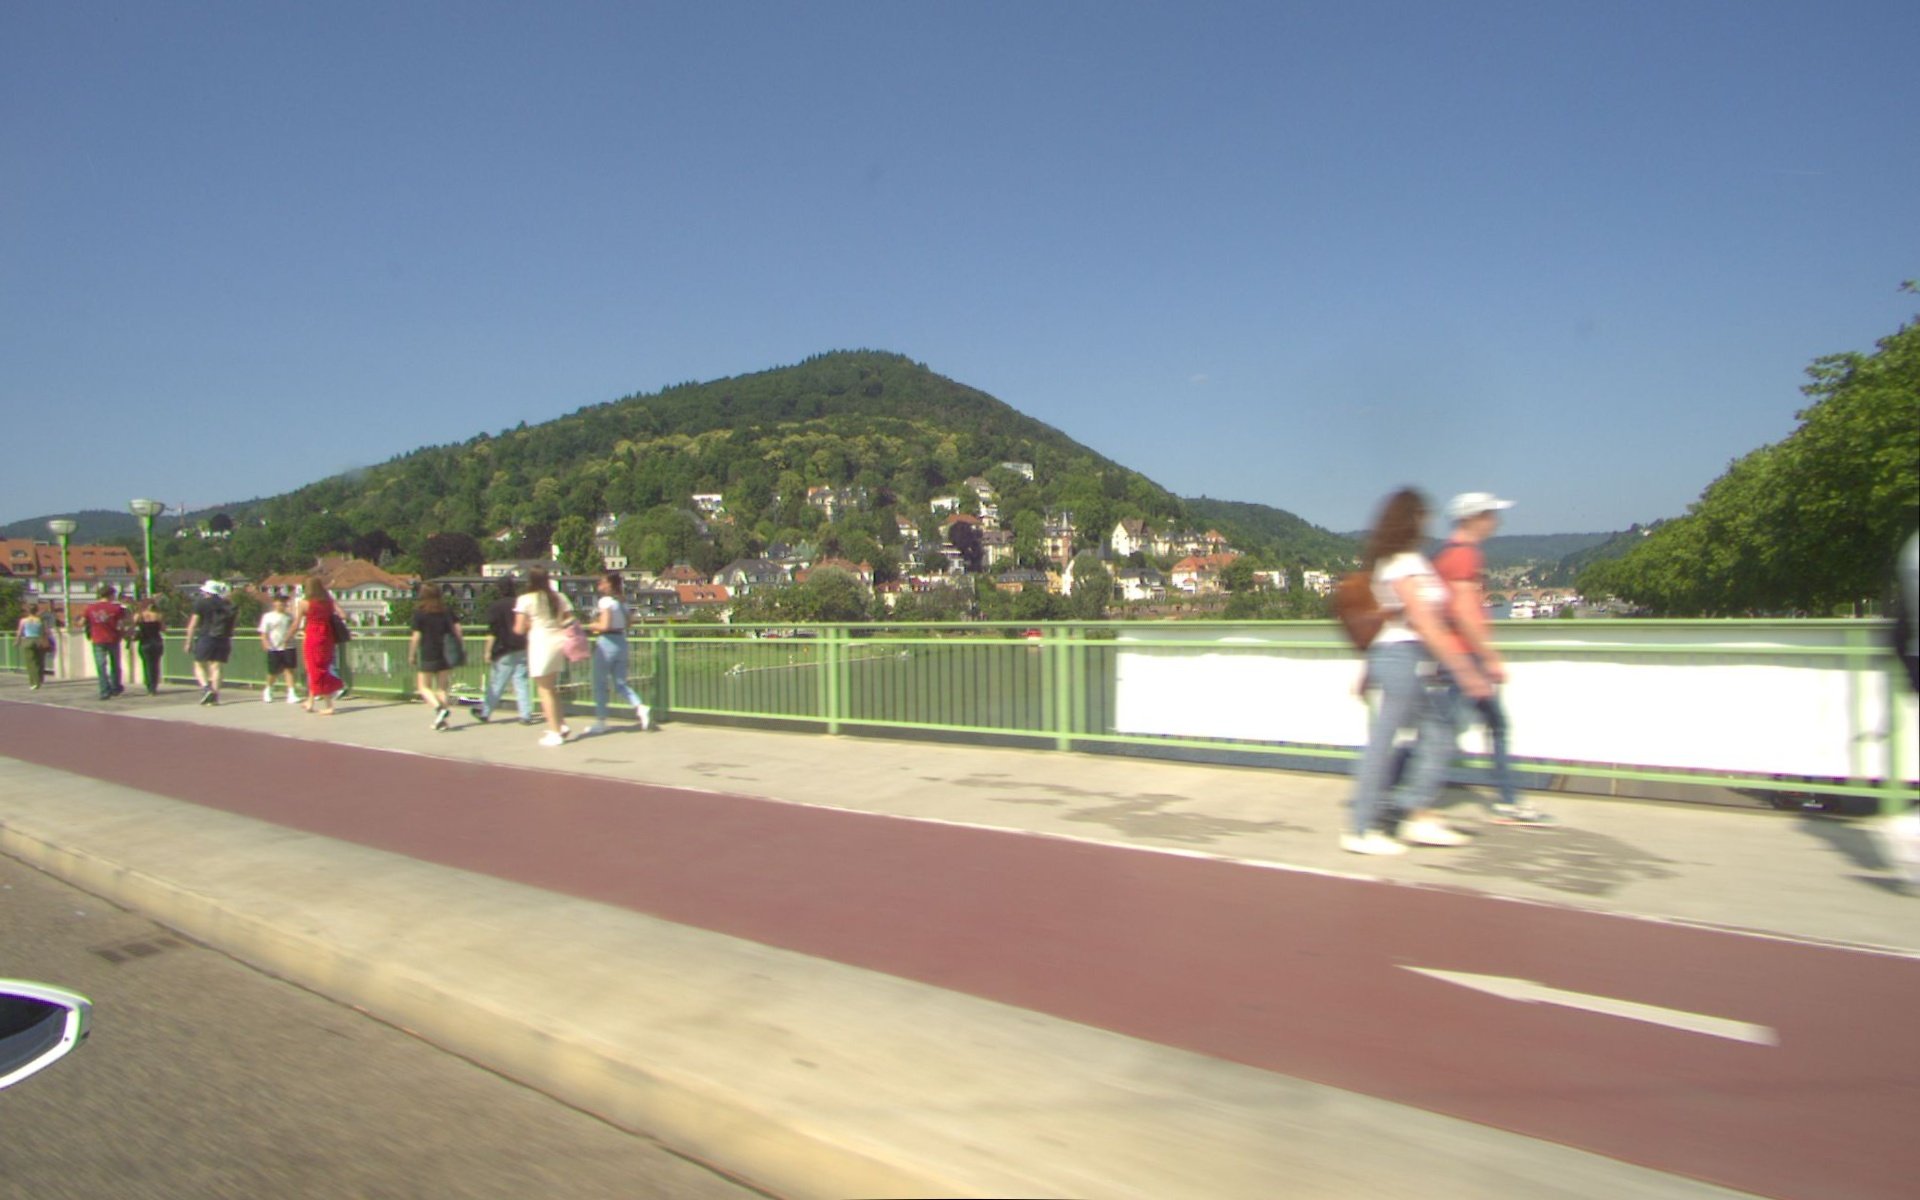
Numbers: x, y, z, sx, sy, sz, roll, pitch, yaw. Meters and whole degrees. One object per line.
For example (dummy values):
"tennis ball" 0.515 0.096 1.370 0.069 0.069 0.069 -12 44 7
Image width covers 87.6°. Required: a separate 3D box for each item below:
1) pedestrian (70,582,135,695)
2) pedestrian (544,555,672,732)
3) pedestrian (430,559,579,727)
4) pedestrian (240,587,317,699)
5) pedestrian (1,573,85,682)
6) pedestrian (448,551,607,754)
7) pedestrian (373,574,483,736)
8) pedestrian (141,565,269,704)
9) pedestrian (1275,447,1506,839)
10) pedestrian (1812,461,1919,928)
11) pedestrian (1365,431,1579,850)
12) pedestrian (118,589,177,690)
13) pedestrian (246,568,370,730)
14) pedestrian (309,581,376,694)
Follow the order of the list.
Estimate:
"pedestrian" -14.081 0.620 16.448 0.623 1.817 0.584 -1 1 30
"pedestrian" -3.581 0.429 10.220 0.872 1.699 0.833 -1 1 29
"pedestrian" -5.198 0.455 11.444 1.236 1.793 0.982 0 2 32
"pedestrian" -10.014 0.611 14.723 0.681 1.584 0.648 0 3 29
"pedestrian" -17.795 0.530 19.441 1.043 2.040 0.872 -1 1 29
"pedestrian" -4.057 0.469 9.429 0.916 1.773 0.983 -1 1 29
"pedestrian" -5.719 0.574 10.777 0.855 1.671 0.653 -1 1 29
"pedestrian" -10.978 0.486 14.575 1.235 1.921 0.983 -1 2 29
"pedestrian" 2.102 0.190 4.834 0.907 1.637 0.983 -1 0 29
"pedestrian" 3.912 0.346 3.926 0.720 1.739 0.695 -1 1 29
"pedestrian" 2.772 0.209 5.448 0.940 2.040 0.802 -1 1 29
"pedestrian" -13.709 0.662 16.895 0.689 1.671 0.522 -1 1 29
"pedestrian" -8.443 0.610 12.978 0.926 1.979 1.013 -1 1 32
"pedestrian" -9.317 0.552 15.110 0.683 1.653 0.647 0 0 35
